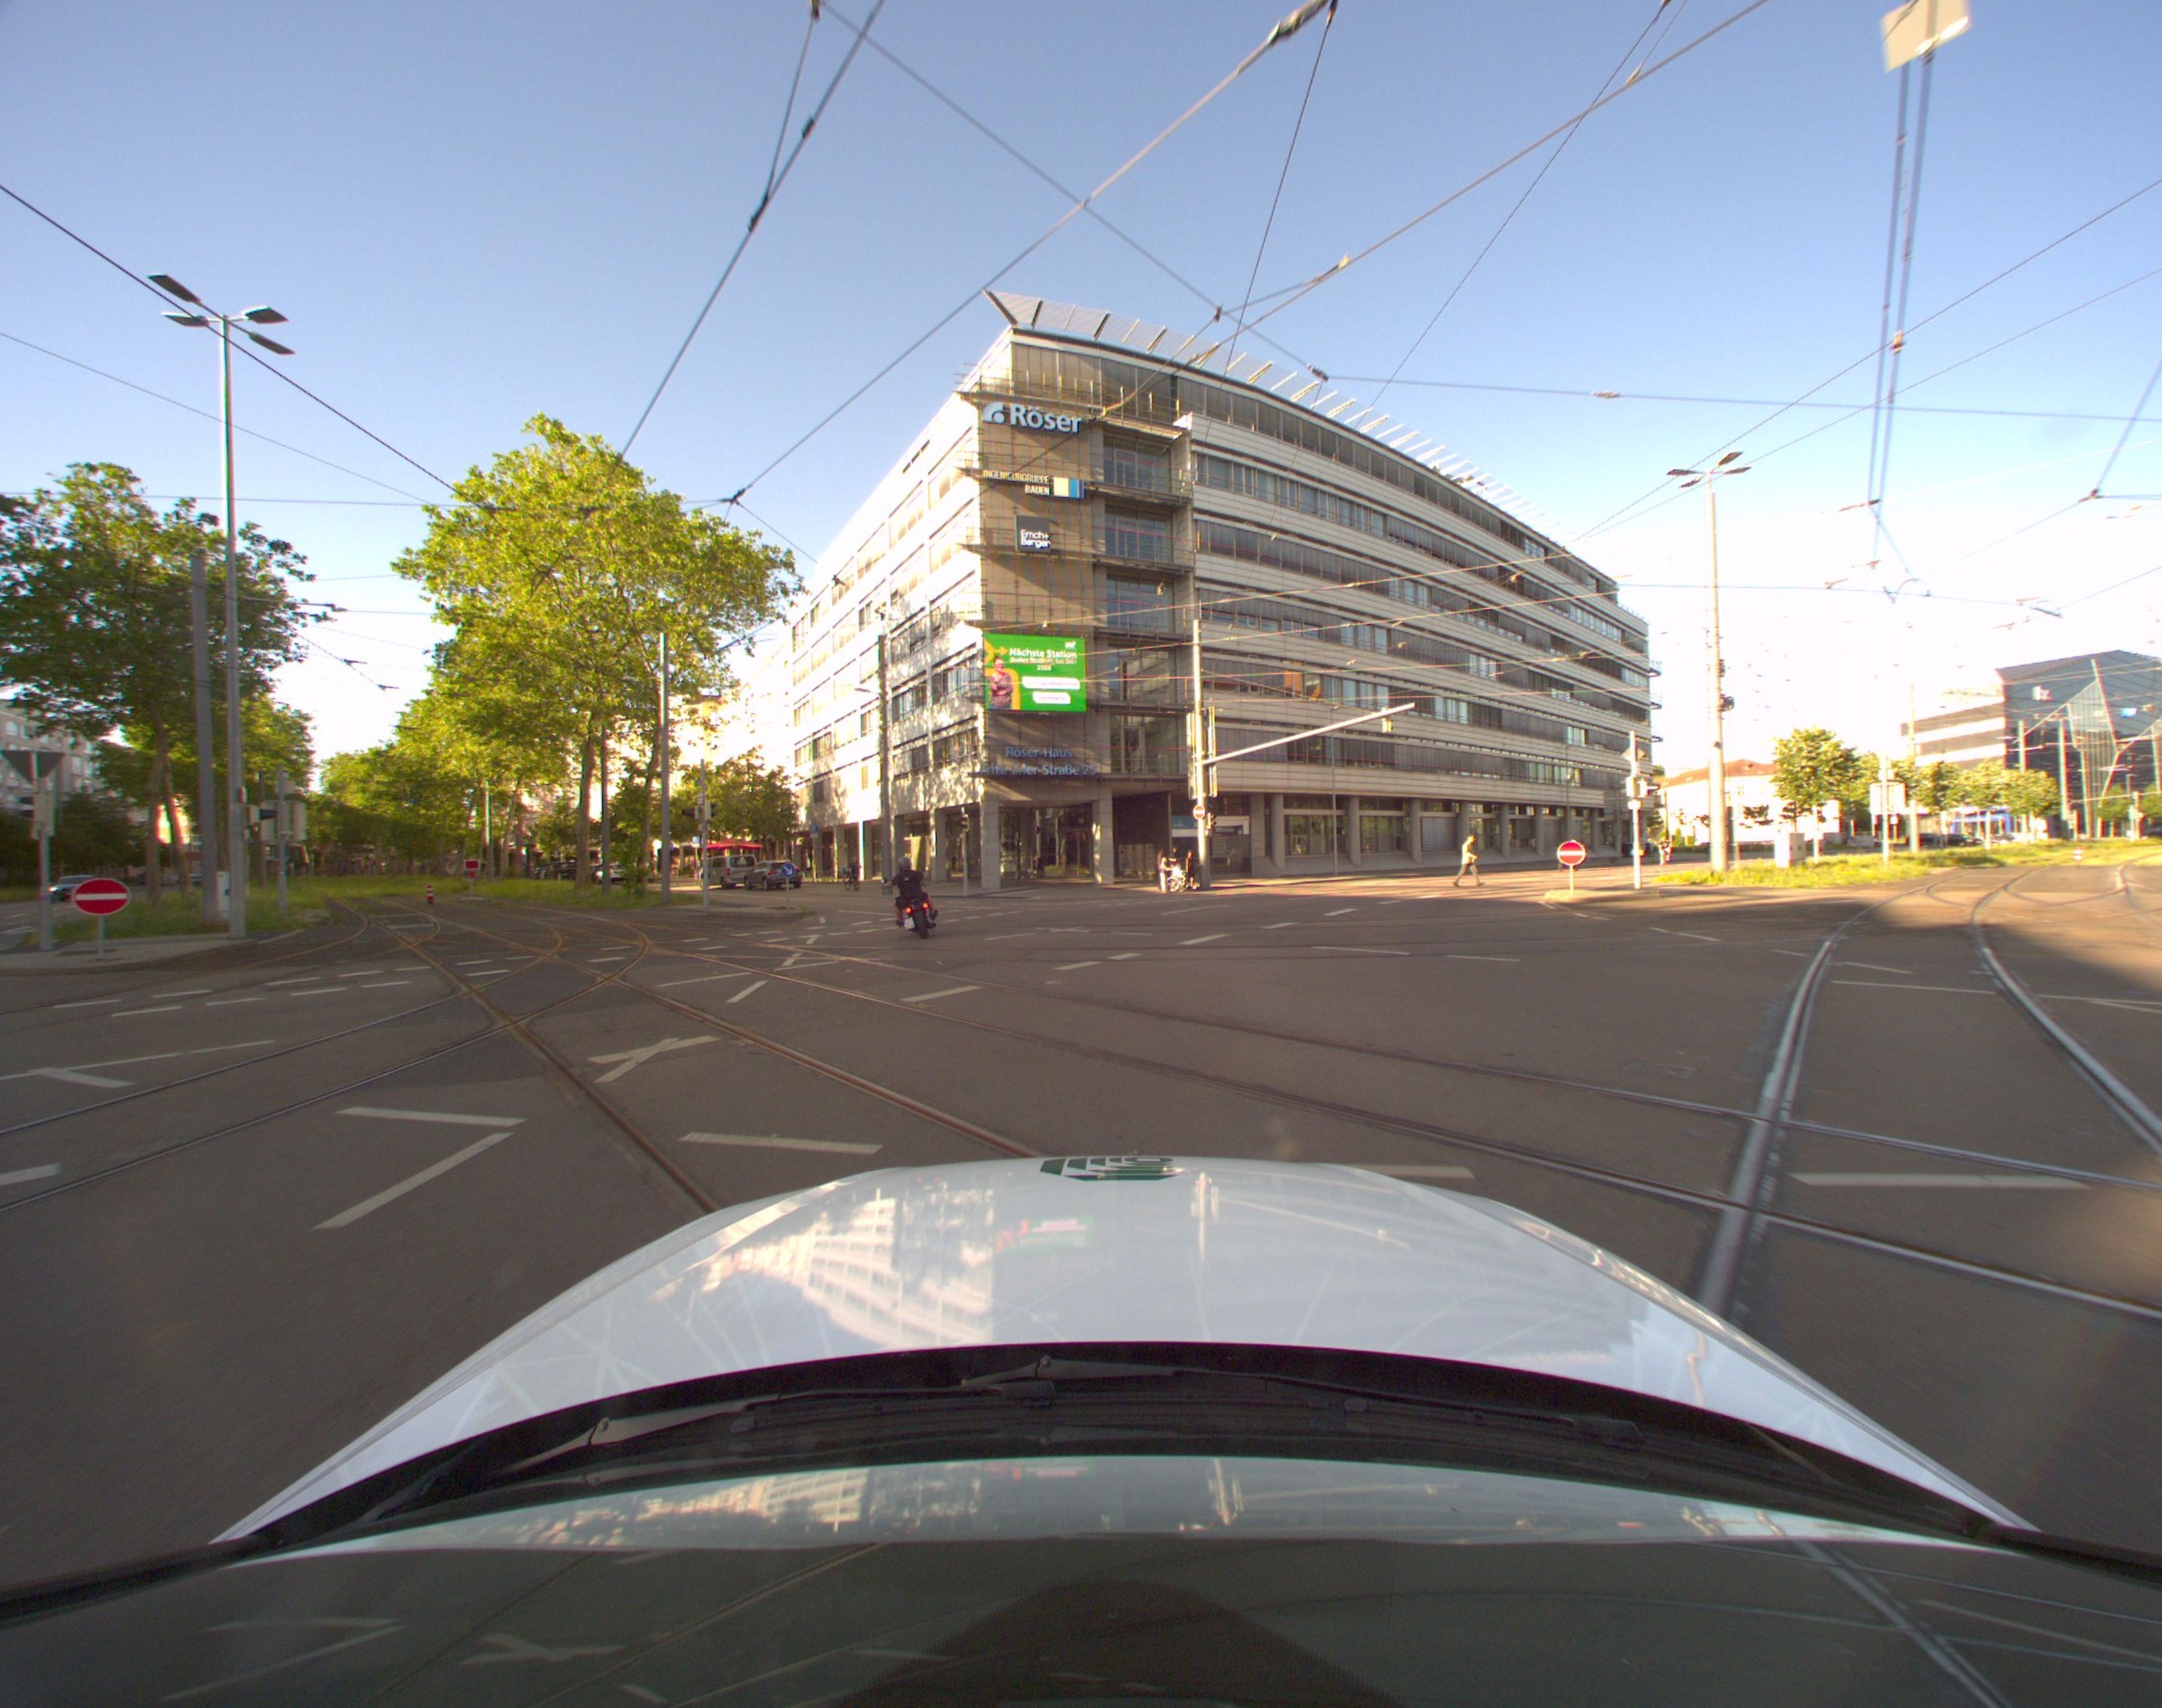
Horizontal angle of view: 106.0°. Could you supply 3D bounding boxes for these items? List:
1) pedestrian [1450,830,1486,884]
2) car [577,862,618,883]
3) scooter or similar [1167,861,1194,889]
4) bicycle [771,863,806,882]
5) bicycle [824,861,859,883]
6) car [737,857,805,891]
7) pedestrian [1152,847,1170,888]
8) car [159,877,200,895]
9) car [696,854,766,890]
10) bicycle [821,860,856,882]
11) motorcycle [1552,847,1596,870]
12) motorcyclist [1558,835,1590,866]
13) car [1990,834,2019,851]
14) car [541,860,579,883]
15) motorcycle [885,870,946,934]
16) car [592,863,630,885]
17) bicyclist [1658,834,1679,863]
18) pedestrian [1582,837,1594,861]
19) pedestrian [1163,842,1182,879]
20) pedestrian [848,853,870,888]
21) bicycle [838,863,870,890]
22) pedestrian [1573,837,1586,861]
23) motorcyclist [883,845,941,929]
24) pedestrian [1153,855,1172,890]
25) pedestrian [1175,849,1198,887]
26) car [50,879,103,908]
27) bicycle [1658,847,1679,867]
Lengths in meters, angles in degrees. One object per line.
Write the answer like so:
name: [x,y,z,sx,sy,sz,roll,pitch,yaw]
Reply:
pedestrian: [13.379,0.103,28.163,0.680,1.823,0.875,-1,-2,-40]
car: [-40.355,1.562,67.943,2.005,1.629,4.034,-3,1,-45]
scooter or similar: [4.165,0.860,33.944,1.007,1.129,0.552,-1,0,15]
bicycle: [-17.754,1.139,49.441,0.731,1.101,1.884,-1,0,43]
bicycle: [-13.692,0.993,46.557,1.848,1.151,0.465,-3,1,-39]
car: [-16.293,1.037,42.746,1.876,1.572,4.362,-4,2,-41]
pedestrian: [3.361,0.548,34.159,0.631,1.708,0.584,-1,0,15]
car: [-84.040,2.979,75.982,2.010,1.499,3.849,-1,1,-39]
car: [-19.938,1.007,46.262,1.940,1.843,4.864,-5,2,-44]
bicycle: [-13.987,0.989,46.926,1.848,1.151,0.465,-3,1,-39]
motorcycle: [27.775,0.248,45.860,2.955,1.232,0.976,-1,0,-35]
motorcyclist: [27.744,-0.199,45.835,1.466,1.731,1.011,-1,0,-35]
car: [98.705,-1.252,87.054,3.925,1.724,1.754,-2,1,-37]
car: [-48.651,1.589,76.022,2.048,1.976,4.360,-3,1,-45]
motorcycle: [-3.295,0.894,16.013,1.007,1.125,2.310,-1,0,-16]
car: [-36.612,1.546,63.431,1.875,1.638,3.822,-2,0,-41]
bicyclist: [33.572,-0.326,46.545,0.999,1.667,0.757,-1,0,-44]
pedestrian: [36.907,-0.360,59.263,0.645,1.733,0.543,-2,0,-40]
pedestrian: [4.319,0.315,38.383,0.637,1.715,0.694,-1,0,31]
pedestrian: [-10.511,0.780,38.567,0.610,1.610,0.827,-5,4,-42]
bicycle: [-10.724,1.037,38.450,0.616,1.163,1.826,-6,4,-42]
pedestrian: [36.557,-0.368,59.708,0.645,1.733,0.543,-2,0,-40]
motorcyclist: [-3.342,0.604,16.033,1.024,1.552,1.280,-1,1,-16]
pedestrian: [3.313,0.753,33.011,0.631,1.402,0.548,-1,0,15]
pedestrian: [4.556,0.585,35.196,0.658,1.617,0.715,-1,0,-37]
car: [-62.959,2.458,51.119,4.287,1.562,1.839,0,1,42]
bicycle: [33.555,0.157,46.515,1.695,1.107,0.636,-2,0,-44]
